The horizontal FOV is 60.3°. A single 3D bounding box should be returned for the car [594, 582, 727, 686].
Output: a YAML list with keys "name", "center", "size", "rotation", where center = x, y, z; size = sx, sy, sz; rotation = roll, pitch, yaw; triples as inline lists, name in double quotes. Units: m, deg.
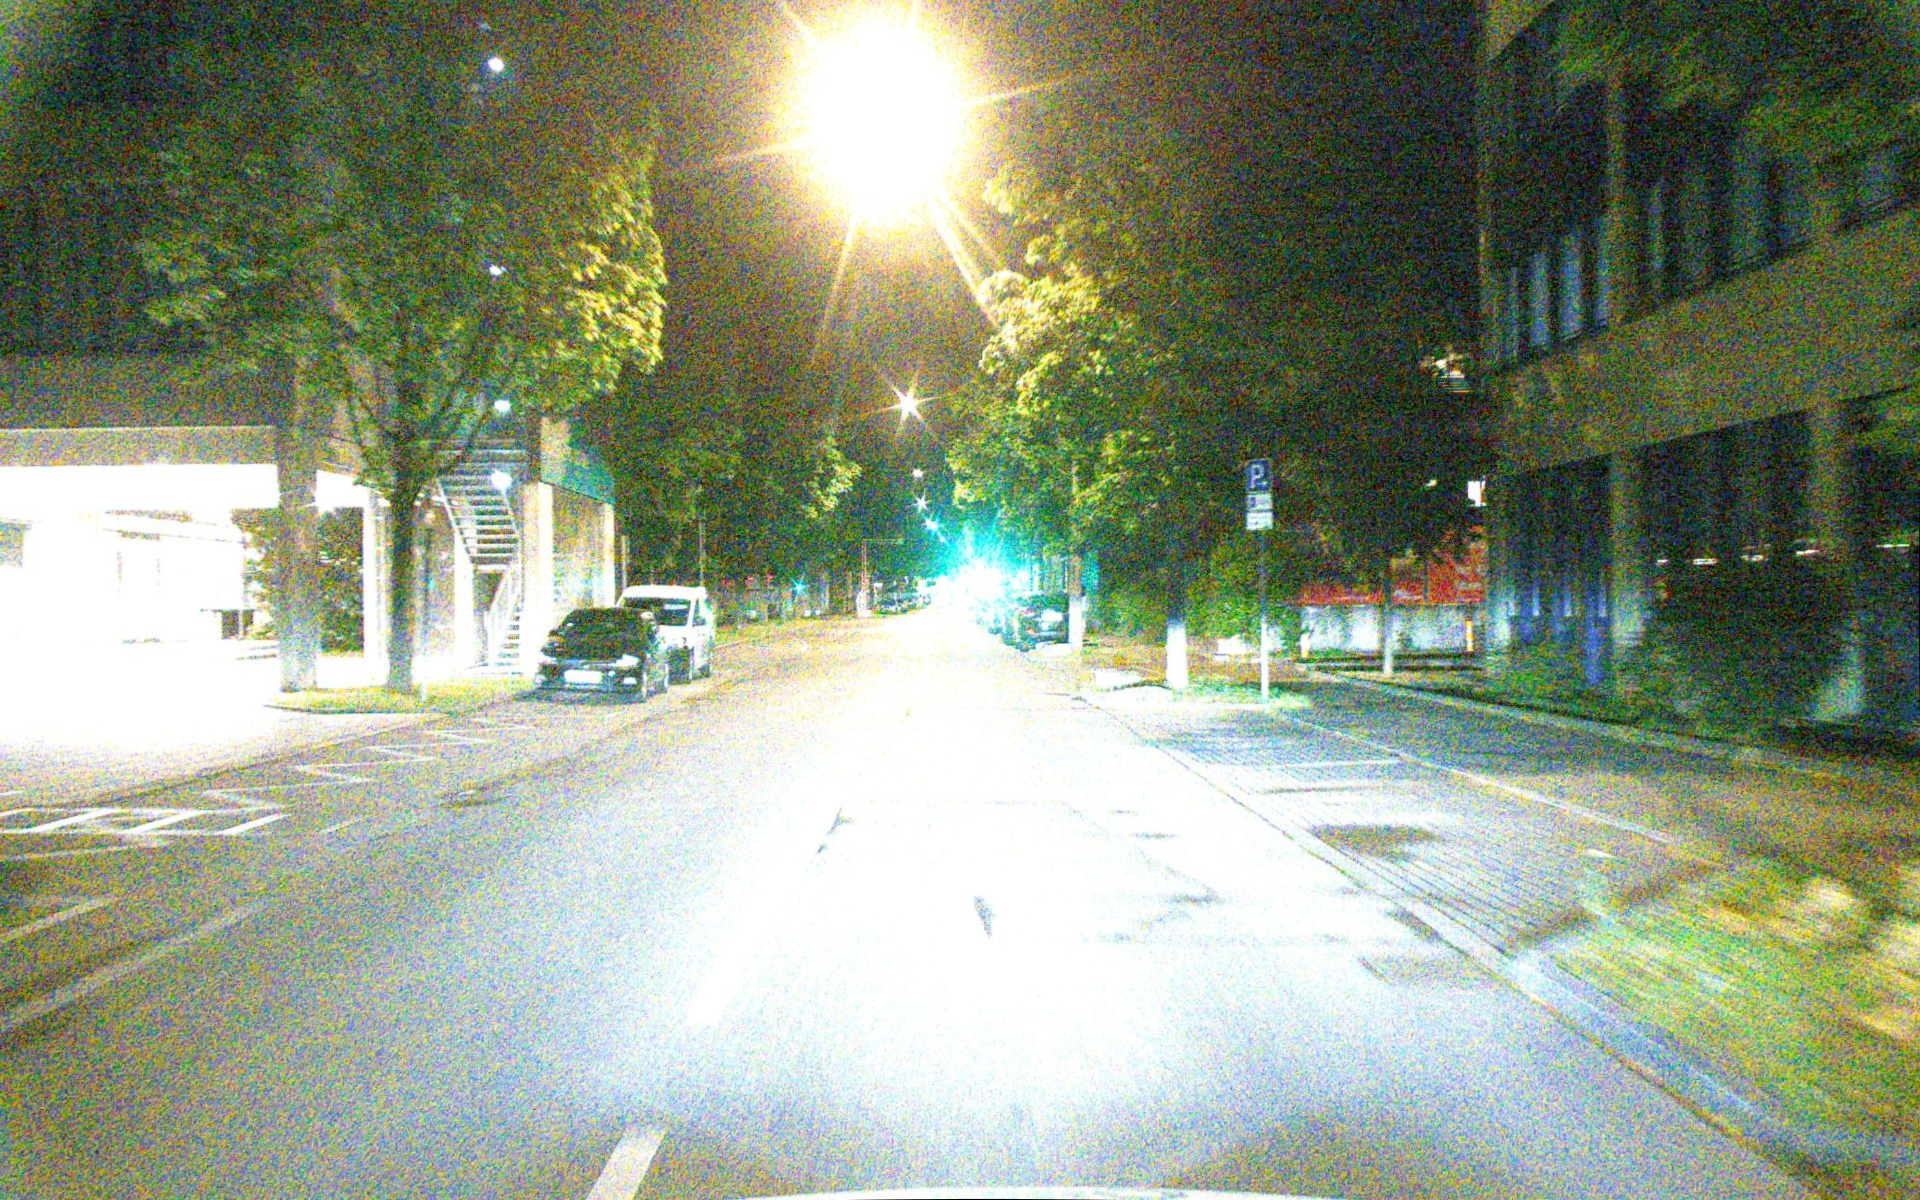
- name: "car"
  center: [-5.873, 0.624, 32.874]
  size: [1.785, 1.843, 4.210]
  rotation: [3, 0, 0]

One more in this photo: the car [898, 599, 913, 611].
- name: "car"
  center: [-6.578, 0.586, 198.596]
  size: [1.705, 1.440, 3.751]
  rotation: [0, 0, -1]

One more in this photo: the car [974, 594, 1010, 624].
- name: "car"
  center: [1.759, 0.461, 92.242]
  size: [1.815, 1.618, 4.299]
  rotation: [-1, 0, -1]

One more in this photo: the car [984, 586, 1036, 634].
- name: "car"
  center: [2.022, 0.389, 68.177]
  size: [1.736, 1.838, 4.275]
  rotation: [-2, 0, -3]

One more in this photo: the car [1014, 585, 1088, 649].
- name: "car"
  center: [2.597, 0.462, 47.912]
  size: [1.815, 1.682, 4.209]
  rotation: [-2, 0, 0]

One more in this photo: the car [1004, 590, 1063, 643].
- name: "car"
  center: [2.368, 0.519, 53.864]
  size: [1.815, 1.632, 4.210]
  rotation: [-1, 0, 2]

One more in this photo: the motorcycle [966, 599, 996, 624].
- name: "motorcycle"
  center: [1.129, 0.611, 88.452]
  size: [0.625, 1.292, 2.058]
  rotation: [0, 0, 34]

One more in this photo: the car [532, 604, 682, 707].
- name: "car"
  center: [-5.693, 0.856, 27.070]
  size: [1.666, 1.458, 3.827]
  rotation: [3, 0, -2]

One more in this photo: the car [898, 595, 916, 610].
- name: "car"
  center: [-5.455, 0.215, 170.007]
  size: [1.705, 1.440, 3.752]
  rotation: [0, 1, -1]

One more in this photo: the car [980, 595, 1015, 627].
- name: "car"
  center: [1.892, 0.539, 84.940]
  size: [1.559, 1.561, 4.137]
  rotation: [-2, 0, -1]

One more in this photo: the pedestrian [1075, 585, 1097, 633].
- name: "pedestrian"
  center: [4.655, 0.335, 61.182]
  size: [0.691, 1.752, 0.821]
  rotation: [-2, 0, -1]

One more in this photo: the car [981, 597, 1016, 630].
- name: "car"
  center: [1.770, 0.620, 76.940]
  size: [1.489, 1.420, 3.984]
  rotation: [-2, 0, 0]

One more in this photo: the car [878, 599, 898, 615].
- name: "car"
  center: [-6.733, 0.638, 155.548]
  size: [1.705, 1.440, 3.751]
  rotation: [0, 0, -1]
